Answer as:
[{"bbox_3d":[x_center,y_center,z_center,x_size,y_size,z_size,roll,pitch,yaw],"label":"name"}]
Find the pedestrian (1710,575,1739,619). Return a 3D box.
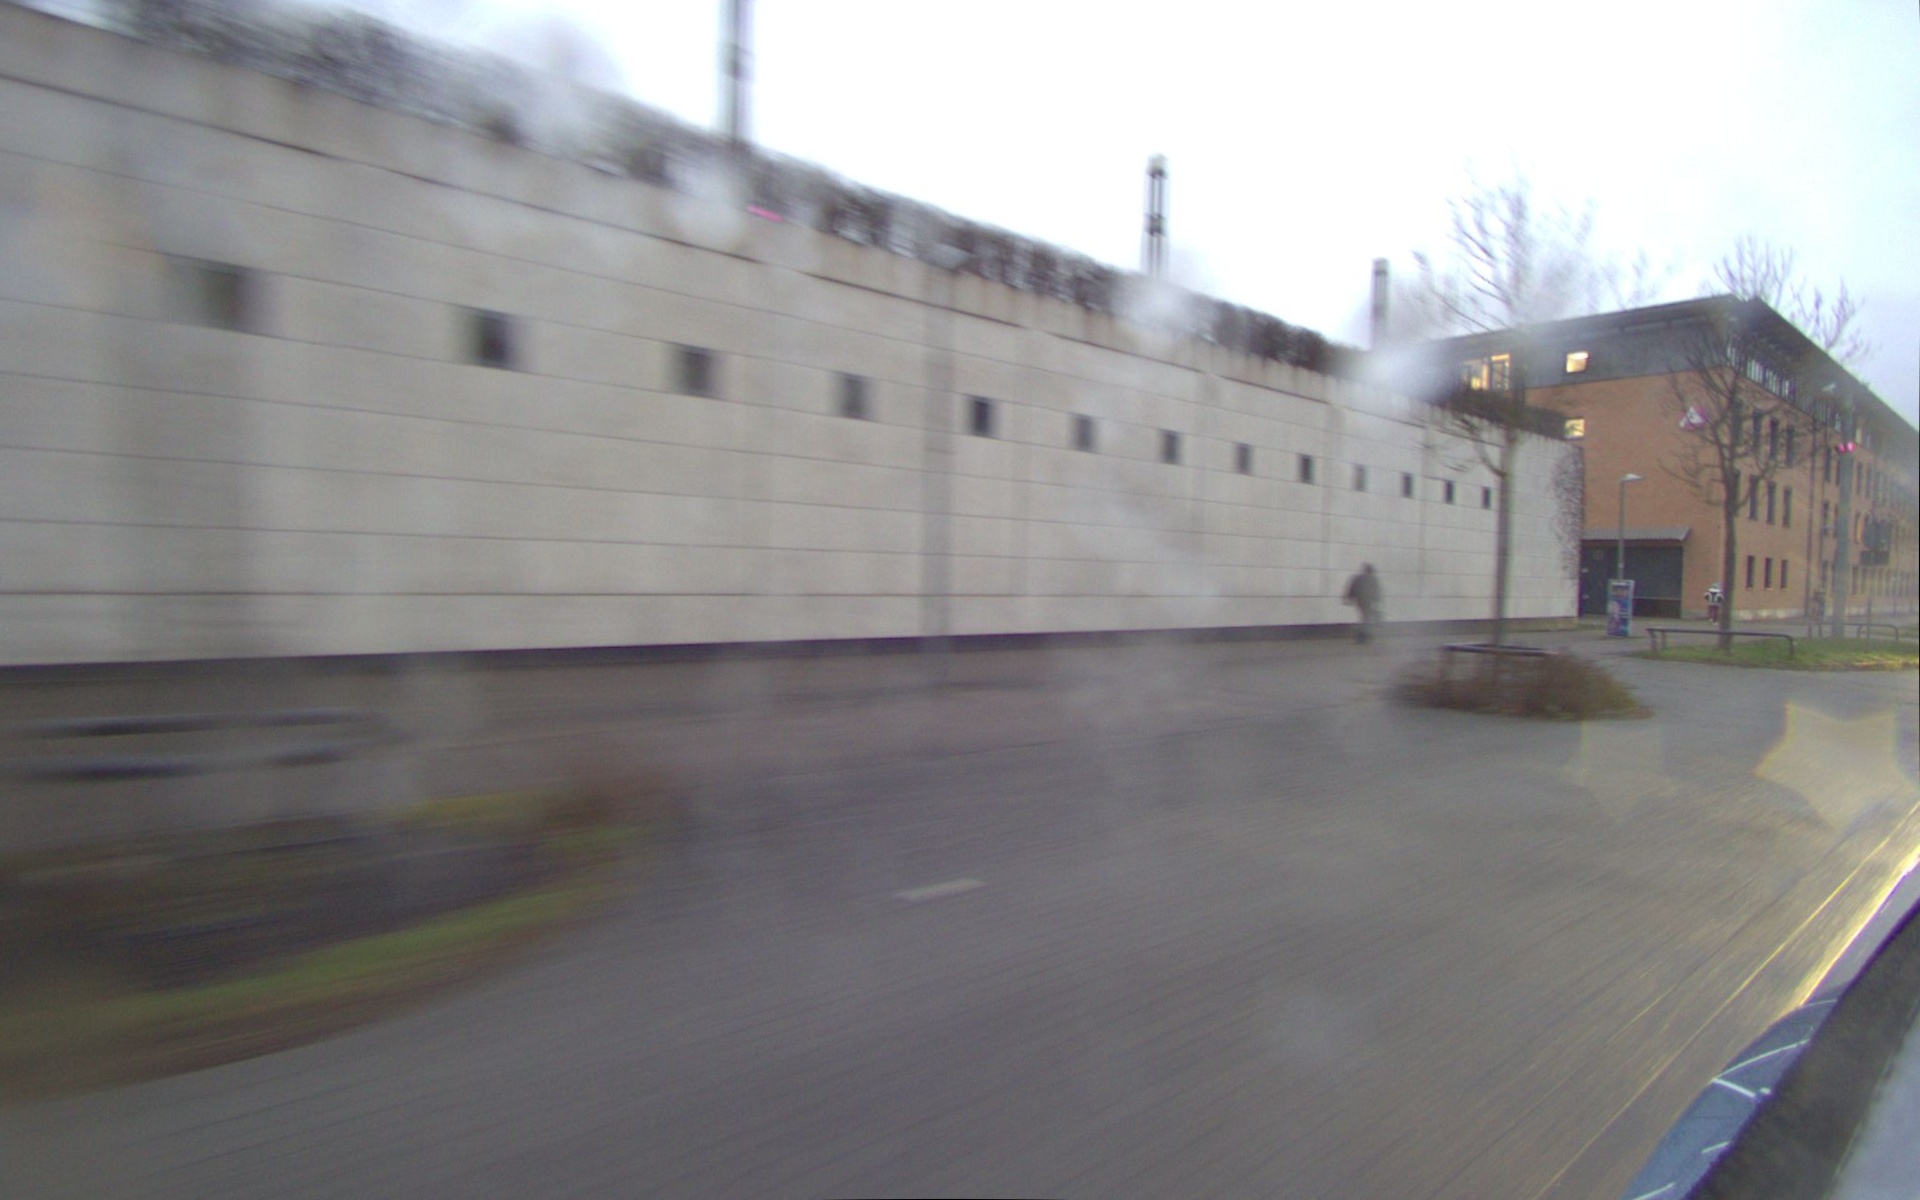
[{"bbox_3d":[30.055,-0.131,39.783,0.756,1.668,0.674,0,4,-41],"label":"pedestrian"}]

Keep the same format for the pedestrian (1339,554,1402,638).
[{"bbox_3d":[8.422,-0.104,20.762,0.868,1.650,0.814,0,4,-41],"label":"pedestrian"}]
